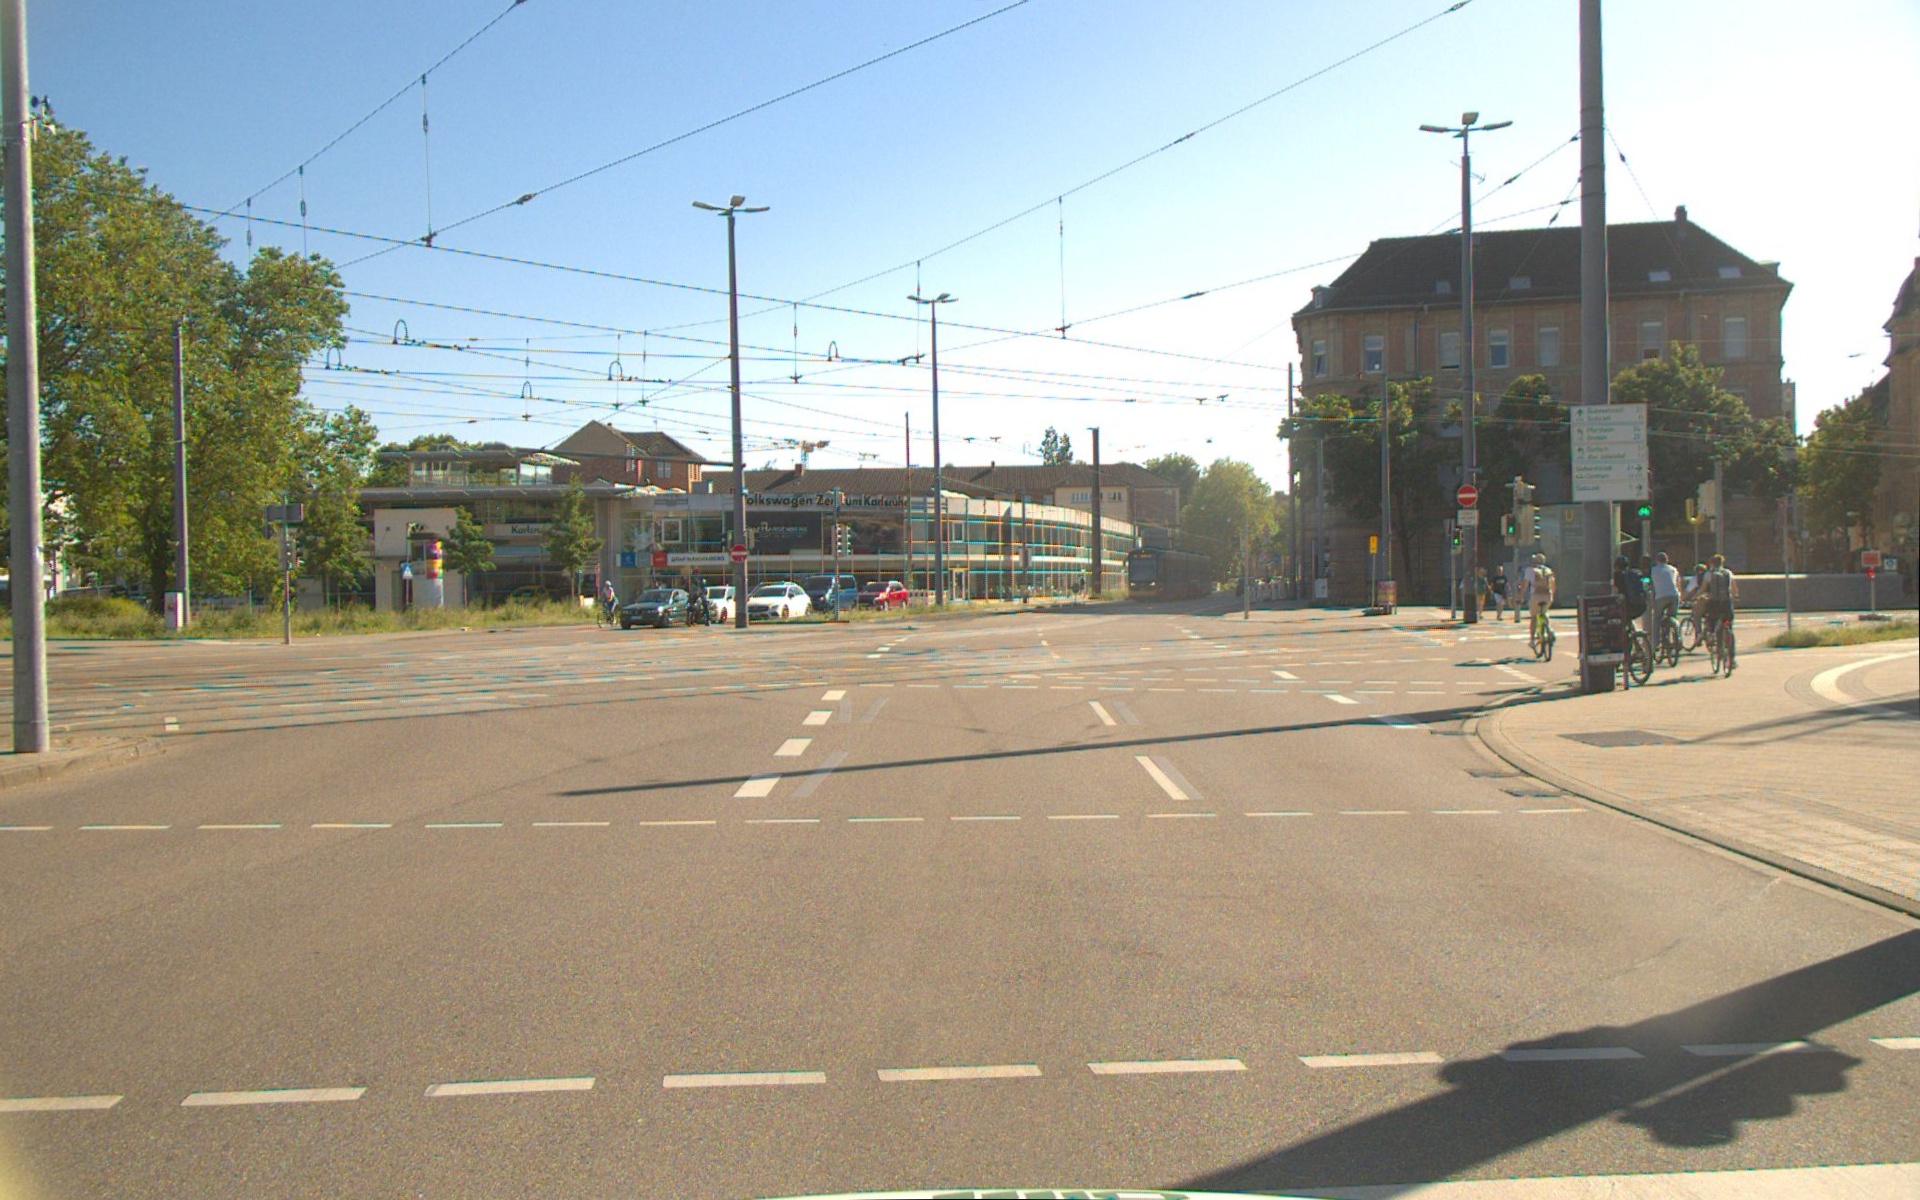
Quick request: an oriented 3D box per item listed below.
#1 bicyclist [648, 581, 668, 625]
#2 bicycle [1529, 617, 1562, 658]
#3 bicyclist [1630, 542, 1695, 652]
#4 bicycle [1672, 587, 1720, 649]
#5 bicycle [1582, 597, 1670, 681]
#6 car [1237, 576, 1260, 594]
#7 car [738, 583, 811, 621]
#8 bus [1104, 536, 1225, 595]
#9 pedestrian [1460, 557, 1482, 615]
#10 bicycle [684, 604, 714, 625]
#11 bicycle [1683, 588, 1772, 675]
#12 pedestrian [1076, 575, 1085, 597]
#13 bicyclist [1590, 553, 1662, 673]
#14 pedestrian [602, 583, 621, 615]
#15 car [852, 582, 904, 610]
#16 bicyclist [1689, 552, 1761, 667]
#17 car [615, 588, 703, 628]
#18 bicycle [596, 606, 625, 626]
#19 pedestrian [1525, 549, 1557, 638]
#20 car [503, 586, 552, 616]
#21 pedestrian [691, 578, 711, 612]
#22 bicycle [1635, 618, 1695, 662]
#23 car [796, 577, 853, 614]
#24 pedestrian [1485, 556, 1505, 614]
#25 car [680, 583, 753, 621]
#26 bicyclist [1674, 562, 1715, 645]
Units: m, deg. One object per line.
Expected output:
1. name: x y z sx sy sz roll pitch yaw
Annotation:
1. bicyclist: -12.080 0.098 66.089 0.556 1.743 0.649 -1 0 12
2. bicycle: 10.654 0.678 30.103 0.526 0.667 1.726 -1 1 19
3. bicyclist: 11.903 -0.055 28.028 0.731 1.810 0.925 -2 0 6
4. bicycle: 14.337 0.342 32.265 0.559 1.145 1.742 -1 0 15
5. bicycle: 9.630 0.550 23.976 0.612 1.133 1.852 -3 -1 5
6. car: 25.458 -1.294 145.817 1.663 1.529 4.268 -1 1 14
7. car: -7.236 0.071 64.826 1.591 1.406 3.741 -1 1 14
8. bus: 15.069 -2.257 118.412 3.756 3.670 24.875 1 0 18
9. pedestrian: 18.454 -0.511 59.710 0.564 2.049 0.449 -1 1 -19
10. bicycle: -9.480 0.532 60.060 0.413 0.730 1.636 -1 1 16
11. bicycle: 11.184 0.437 24.161 0.670 1.184 1.885 -3 0 10
12. pedestrian: 9.734 -1.129 133.464 0.531 1.718 0.630 -1 0 20
13. bicyclist: 9.595 0.181 23.863 0.612 1.666 0.995 -3 -1 5
14. pedestrian: -13.469 -0.058 63.923 0.414 1.225 0.681 -1 0 18
15. car: -4.245 -0.201 86.015 1.591 1.388 3.688 -1 1 16
16. bicyclist: 11.192 0.136 24.220 0.670 1.626 0.978 -3 0 10
17. car: -11.011 0.267 60.696 1.667 1.378 3.703 -1 1 16
18. bicycle: -13.487 0.621 63.833 0.414 0.730 1.476 -1 1 18
19. pedestrian: 10.559 -0.120 30.071 0.537 1.590 0.858 -1 0 19
20. car: -25.974 0.045 99.471 1.926 1.735 4.083 -1 1 -1
21. pedestrian: -9.437 -0.190 60.230 0.413 1.225 0.750 -1 0 16
22. bicycle: 11.915 0.672 27.990 0.525 0.667 1.469 -2 1 6
23. car: -6.424 -0.237 78.855 1.591 1.722 3.689 -1 1 14
24. pedestrian: 18.937 -0.523 58.533 0.453 2.049 0.449 -1 1 -18
25. car: -9.788 0.055 66.669 1.591 1.448 3.689 -1 1 14
26. bicyclist: 14.328 0.062 32.267 0.559 1.596 0.947 -1 0 15
